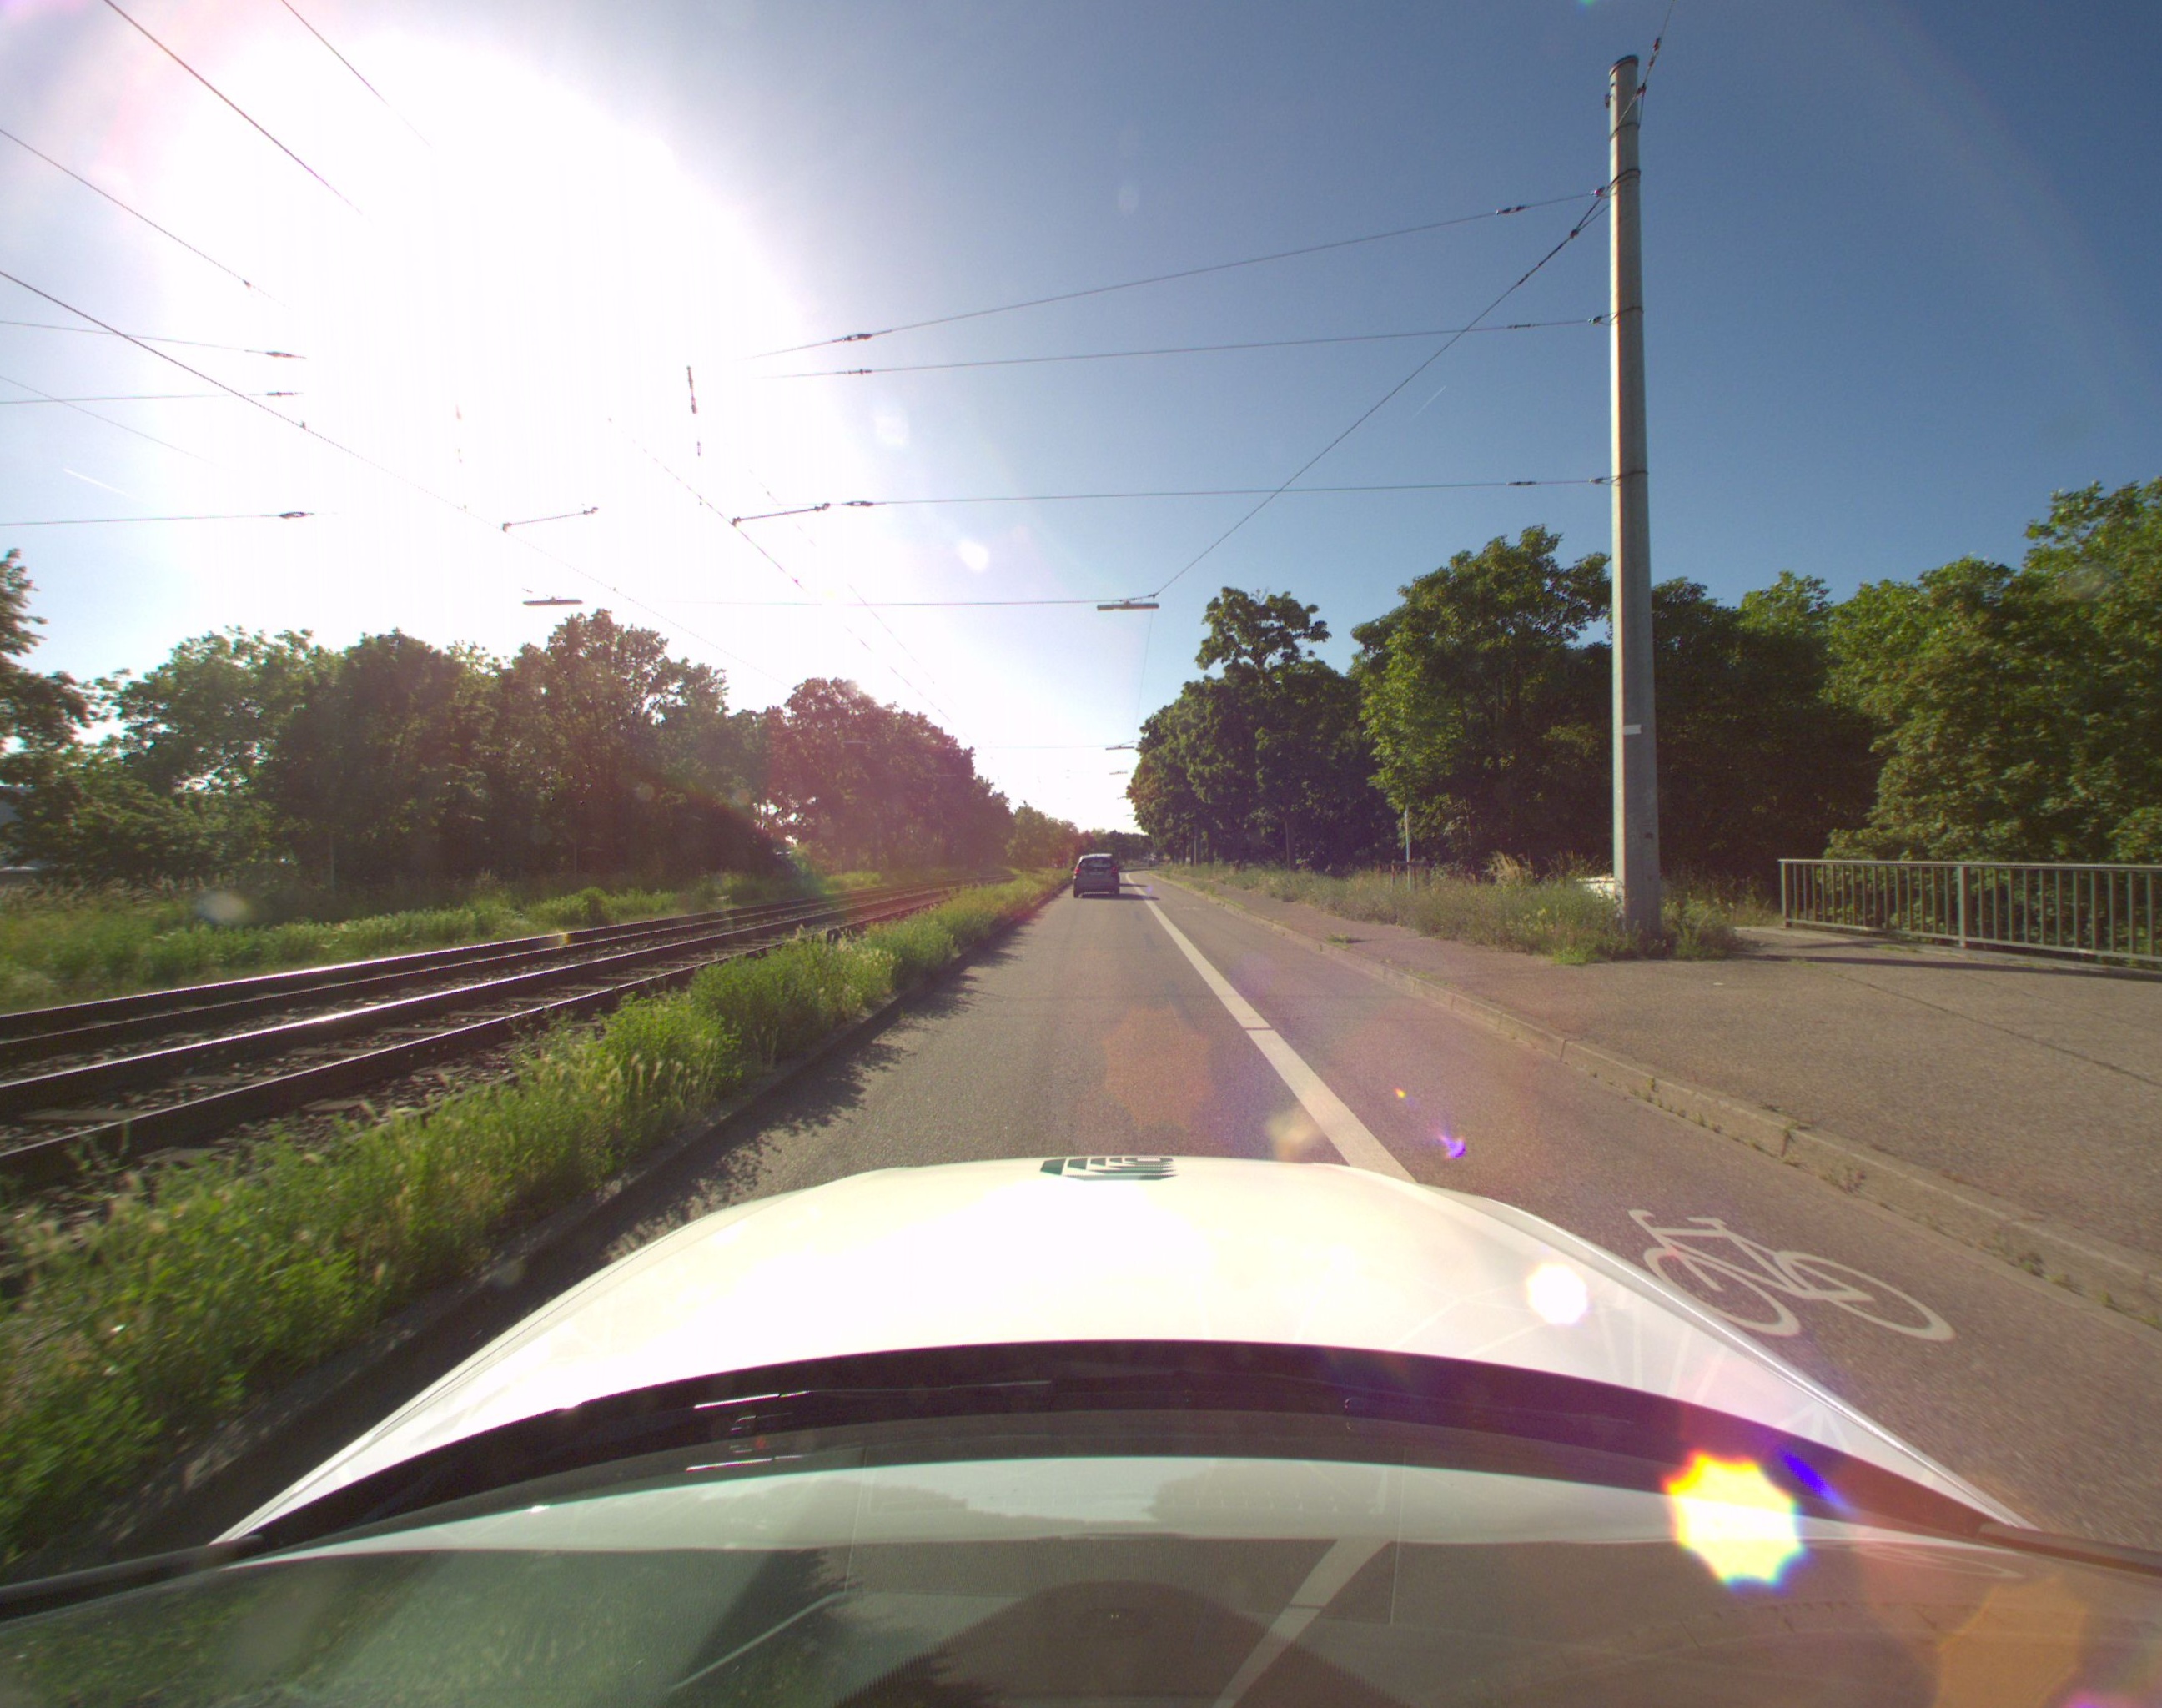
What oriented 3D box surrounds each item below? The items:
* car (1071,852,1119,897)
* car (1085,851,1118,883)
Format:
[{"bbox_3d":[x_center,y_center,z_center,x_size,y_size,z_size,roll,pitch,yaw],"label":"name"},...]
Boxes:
[{"bbox_3d":[0.566,0.709,30.426,1.663,1.507,3.813,0,1,2],"label":"car"},{"bbox_3d":[1.105,0.632,42.742,1.648,1.507,3.814,0,2,2],"label":"car"}]
